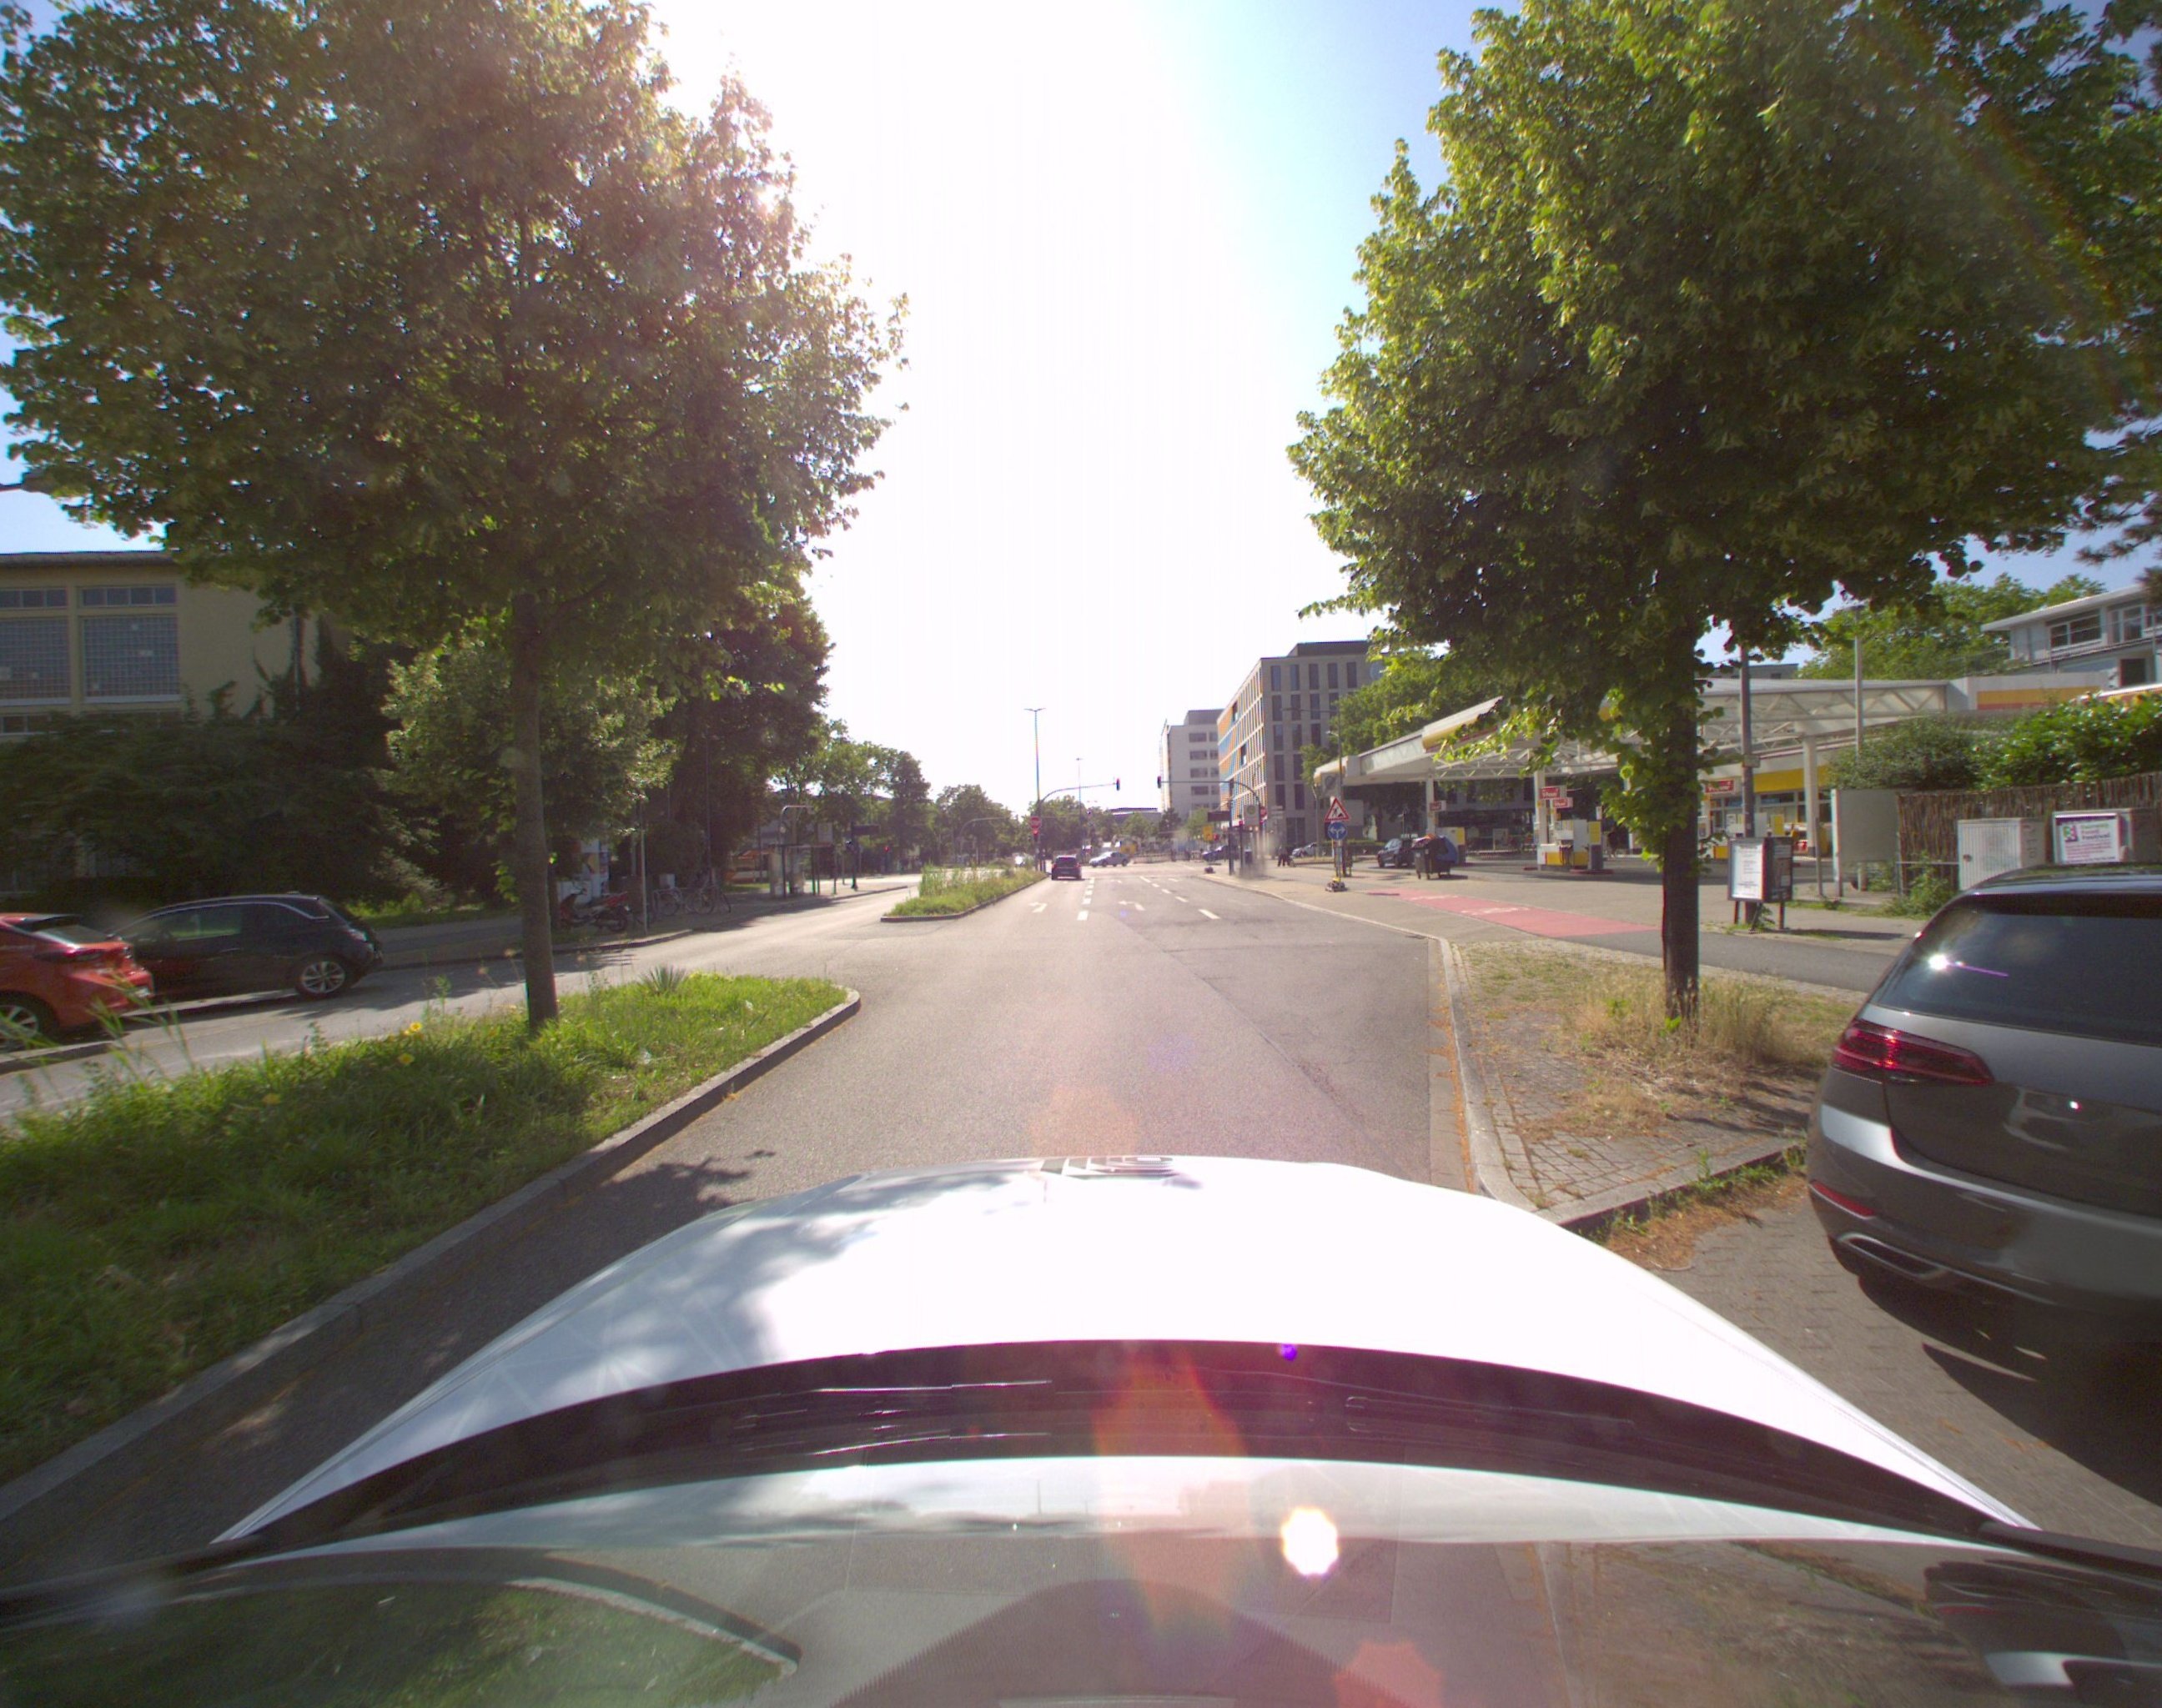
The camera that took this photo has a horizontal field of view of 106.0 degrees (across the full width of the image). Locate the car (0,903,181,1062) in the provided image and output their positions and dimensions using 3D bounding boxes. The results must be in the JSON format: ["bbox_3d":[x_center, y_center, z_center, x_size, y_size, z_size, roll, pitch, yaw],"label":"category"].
[{"bbox_3d":[-11.751,1.320,7.813,3.858,1.423,1.697,-2,0,-35],"label":"car"}]

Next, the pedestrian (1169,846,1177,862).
[{"bbox_3d":[11.231,0.003,99.671,0.788,2.013,0.540,-2,0,-9],"label":"pedestrian"}]

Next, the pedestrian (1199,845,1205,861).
[{"bbox_3d":[14.388,-0.121,96.884,0.529,1.771,0.717,-2,0,-12],"label":"pedestrian"}]

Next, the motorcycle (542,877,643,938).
[{"bbox_3d":[-11.267,1.218,18.833,1.843,1.284,0.691,-2,0,-6],"label":"motorcycle"}]

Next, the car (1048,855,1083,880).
[{"bbox_3d":[-0.937,0.795,49.309,1.988,1.398,3.997,-2,0,-2],"label":"car"}]

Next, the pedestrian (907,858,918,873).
[{"bbox_3d":[-19.210,1.283,92.876,0.660,1.611,0.947,-2,0,24],"label":"pedestrian"}]

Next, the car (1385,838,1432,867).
[{"bbox_3d":[17.179,-0.103,42.849,1.639,1.398,3.654,-2,0,12],"label":"car"}]

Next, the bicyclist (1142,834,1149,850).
[{"bbox_3d":[10.378,-1.967,130.875,1.064,2.574,0.829,-2,0,7],"label":"bicyclist"}]

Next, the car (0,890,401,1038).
[{"bbox_3d":[-11.515,1.322,10.757,3.794,1.423,1.834,-3,-1,-39],"label":"car"}]

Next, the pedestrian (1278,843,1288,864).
[{"bbox_3d":[14.464,-0.037,58.313,0.616,1.543,0.461,-2,0,0],"label":"pedestrian"}]

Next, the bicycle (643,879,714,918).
[{"bbox_3d":[-12.466,1.370,25.264,1.838,1.106,0.693,-2,0,2],"label":"bicycle"}]

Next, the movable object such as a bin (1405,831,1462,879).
[{"bbox_3d":[12.593,0.036,29.109,1.304,1.592,1.395,-5,0,-1],"label":"movable object such as a bin"}]

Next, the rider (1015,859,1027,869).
[{"bbox_3d":[-7.698,1.271,104.426,1.387,1.196,2.696,-2,0,-1],"label":"rider"}]

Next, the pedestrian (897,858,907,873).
[{"bbox_3d":[-20.273,1.321,92.230,0.648,1.611,0.947,-2,0,24],"label":"pedestrian"}]

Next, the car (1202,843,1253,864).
[{"bbox_3d":[15.019,-0.081,83.826,4.840,2.013,1.999,-2,0,-1],"label":"car"}]

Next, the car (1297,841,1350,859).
[{"bbox_3d":[25.007,-0.429,84.197,4.838,1.636,2.000,-2,0,0],"label":"car"}]

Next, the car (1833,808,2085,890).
[{"bbox_3d":[19.253,-0.105,17.975,3.807,1.596,1.590,-2,0,0],"label":"car"}]

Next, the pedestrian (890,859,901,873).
[{"bbox_3d":[-21.019,1.348,92.256,0.648,1.611,0.947,-2,0,24],"label":"pedestrian"}]

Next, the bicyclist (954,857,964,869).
[{"bbox_3d":[-13.574,0.998,90.826,1.052,1.275,0.491,-2,0,-10],"label":"bicyclist"}]

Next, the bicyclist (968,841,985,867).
[{"bbox_3d":[-12.388,-0.012,96.537,1.594,2.931,2.354,-2,0,1],"label":"bicyclist"}]

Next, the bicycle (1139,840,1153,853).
[{"bbox_3d":[10.437,-1.203,130.870,2.076,1.962,0.829,-2,0,7],"label":"bicycle"}]

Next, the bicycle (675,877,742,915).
[{"bbox_3d":[-12.141,1.362,26.582,1.838,1.122,0.693,-2,0,2],"label":"bicycle"}]

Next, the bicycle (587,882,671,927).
[{"bbox_3d":[-12.081,1.352,21.809,1.838,1.092,0.693,-2,0,2],"label":"bicycle"}]

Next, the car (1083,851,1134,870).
[{"bbox_3d":[2.657,0.601,78.771,4.404,1.639,1.983,-2,0,-27],"label":"car"}]

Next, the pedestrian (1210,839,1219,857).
[{"bbox_3d":[15.587,-0.689,94.839,0.770,2.013,0.782,-2,0,30],"label":"pedestrian"}]

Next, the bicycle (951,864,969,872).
[{"bbox_3d":[-13.520,1.565,90.819,1.999,0.883,0.525,-2,0,-10],"label":"bicycle"}]

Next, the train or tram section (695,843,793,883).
[{"bbox_3d":[-30.879,0.817,74.792,7.532,3.332,3.119,-2,0,-1],"label":"train or tram section"}]

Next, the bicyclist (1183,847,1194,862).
[{"bbox_3d":[12.671,0.071,96.263,1.232,1.673,0.526,-2,0,9],"label":"bicyclist"}]

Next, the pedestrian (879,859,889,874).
[{"bbox_3d":[-22.181,1.391,91.781,0.648,1.611,0.947,-2,0,24],"label":"pedestrian"}]

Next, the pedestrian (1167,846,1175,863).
[{"bbox_3d":[11.134,0.033,100.364,0.788,2.013,0.540,-2,0,-9],"label":"pedestrian"}]

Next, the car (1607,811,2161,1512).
[{"bbox_3d":[4.131,0.613,2.821,4.124,1.530,1.983,-2,0,-25],"label":"car"}]

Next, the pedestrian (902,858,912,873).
[{"bbox_3d":[-19.559,1.291,91.469,0.648,1.611,0.947,-2,0,24],"label":"pedestrian"}]

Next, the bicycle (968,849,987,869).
[{"bbox_3d":[-12.344,0.578,97.343,1.594,2.269,4.001,-2,0,1],"label":"bicycle"}]

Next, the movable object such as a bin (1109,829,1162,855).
[{"bbox_3d":[10.158,-2.237,151.595,9.635,4.550,3.166,-2,0,3],"label":"movable object such as a bin"}]

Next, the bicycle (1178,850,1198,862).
[{"bbox_3d":[12.659,0.232,96.254,2.215,1.285,0.526,-2,0,9],"label":"bicycle"}]
